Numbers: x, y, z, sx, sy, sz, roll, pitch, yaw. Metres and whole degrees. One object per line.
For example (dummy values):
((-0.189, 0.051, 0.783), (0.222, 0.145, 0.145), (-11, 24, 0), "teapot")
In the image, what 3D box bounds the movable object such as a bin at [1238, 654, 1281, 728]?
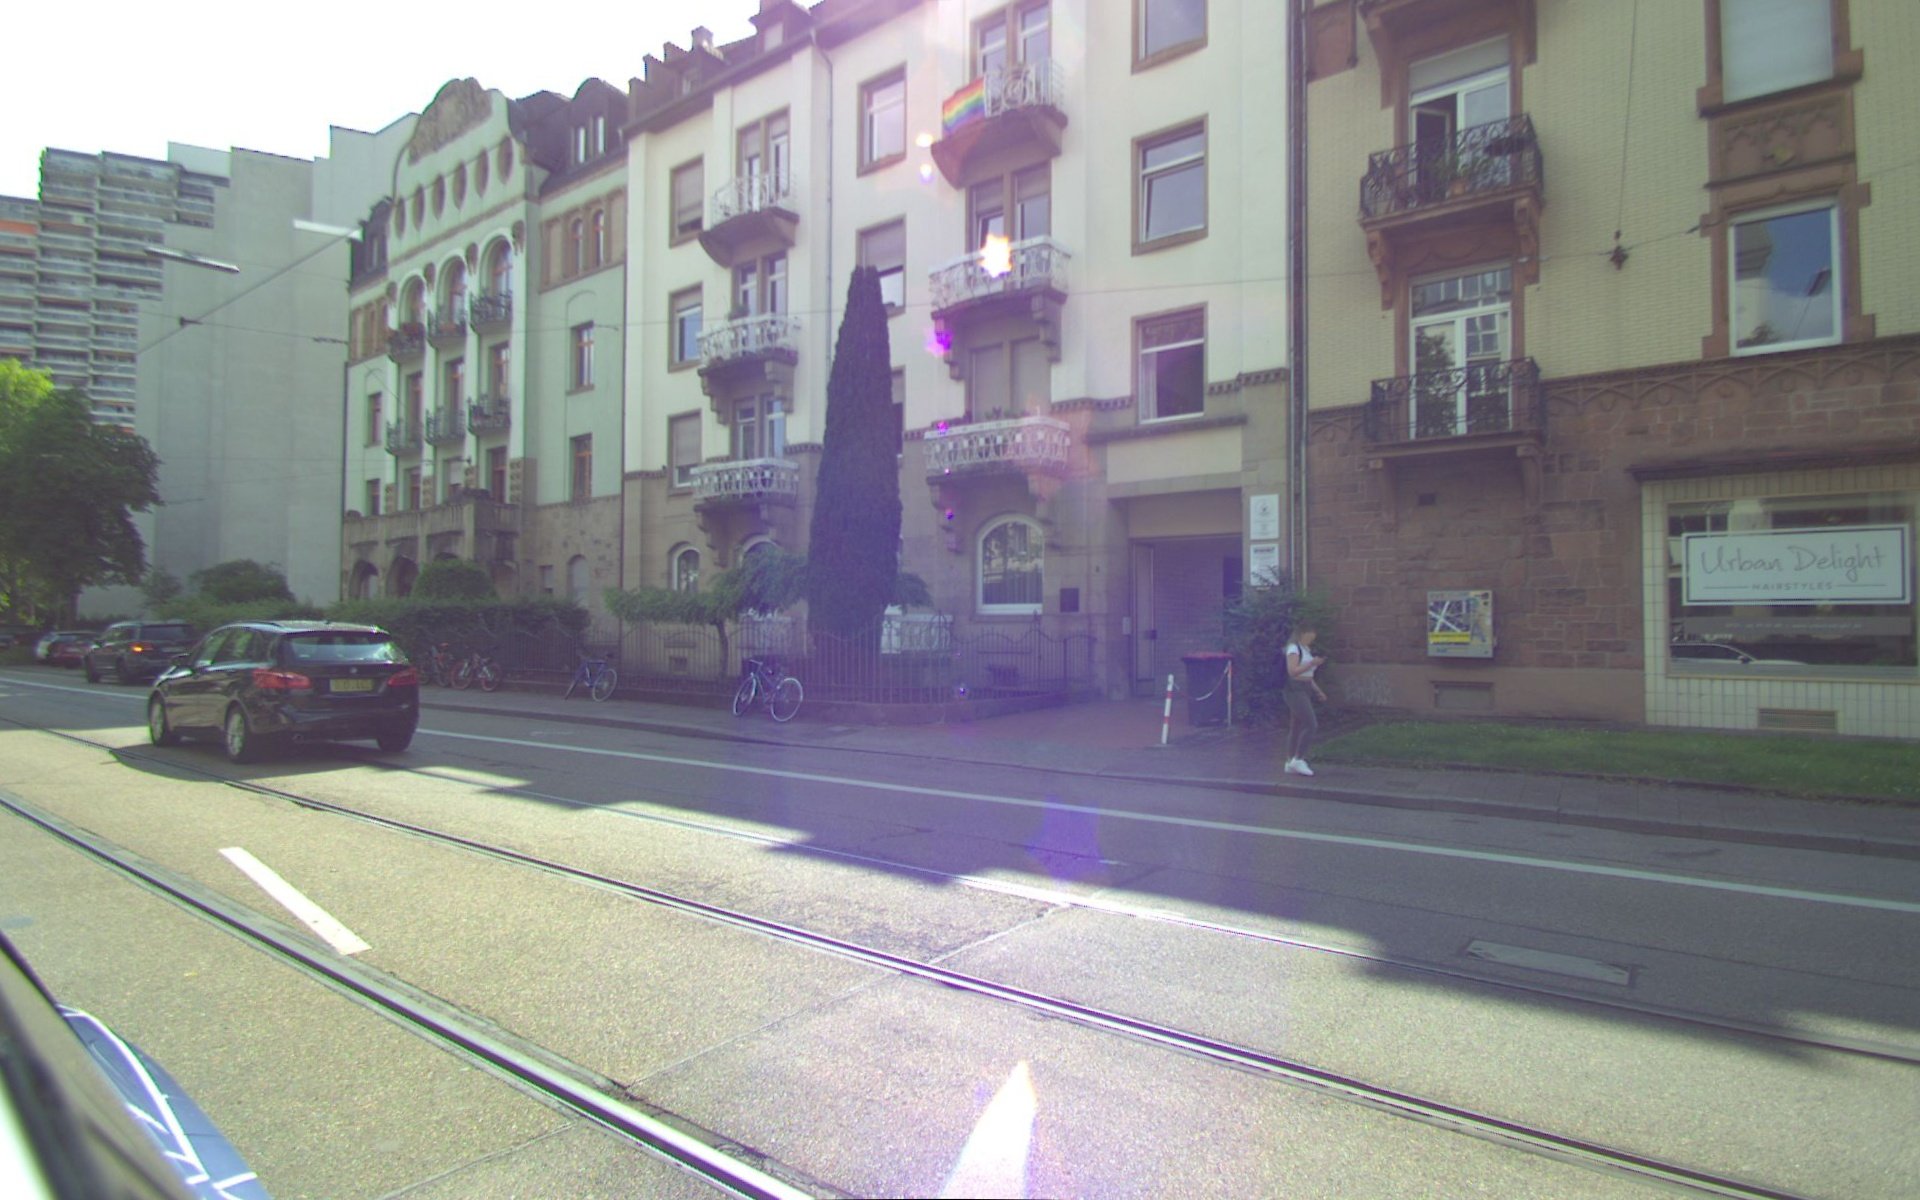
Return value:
((4.304, 1.297, 14.579), (0.531, 1.037, 0.475), (0, -2, 11), "movable object such as a bin")

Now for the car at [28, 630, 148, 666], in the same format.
((-38.671, 2.125, 44.929), (3.938, 1.519, 2.002), (2, -3, -42), "car")

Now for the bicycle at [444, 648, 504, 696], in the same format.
((-10.724, 1.564, 22.308), (1.785, 1.003, 0.462), (-2, -3, 40), "bicycle")

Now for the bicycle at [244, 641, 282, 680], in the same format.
((-20.981, 1.808, 30.439), (1.785, 1.144, 0.462), (-2, -3, 40), "bicycle")

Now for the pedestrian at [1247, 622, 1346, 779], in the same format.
((3.526, 1.019, 10.610), (0.764, 1.553, 0.749), (-2, -3, 39), "pedestrian")

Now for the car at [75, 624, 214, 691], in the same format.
((-22.716, 1.548, 28.161), (4.392, 1.708, 1.899), (-1, -2, 36), "car")

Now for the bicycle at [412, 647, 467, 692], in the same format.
((-12.140, 1.599, 23.571), (1.785, 1.003, 0.462), (-2, -3, 40), "bicycle")

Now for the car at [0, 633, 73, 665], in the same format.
((-46.441, 2.399, 49.967), (3.938, 1.519, 2.002), (2, -3, -42), "car")

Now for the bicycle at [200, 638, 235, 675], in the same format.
((-24.162, 1.823, 32.929), (1.785, 1.144, 0.462), (-2, -3, 40), "bicycle")

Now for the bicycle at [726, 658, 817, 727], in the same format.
((-3.062, 1.456, 16.313), (0.461, 1.003, 1.980), (2, -3, -43), "bicycle")

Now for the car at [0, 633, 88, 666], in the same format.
((-43.984, 2.322, 47.991), (3.938, 1.519, 2.002), (2, -3, -42), "car")

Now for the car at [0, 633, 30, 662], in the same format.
((-51.816, 2.518, 53.396), (3.938, 1.519, 2.002), (2, -3, -42), "car")

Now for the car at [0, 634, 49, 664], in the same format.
((-49.124, 2.489, 51.616), (3.938, 1.519, 2.002), (2, -3, -42), "car")

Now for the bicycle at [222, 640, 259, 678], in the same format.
((-22.507, 1.826, 31.640), (1.785, 1.144, 0.462), (-2, -3, 40), "bicycle")

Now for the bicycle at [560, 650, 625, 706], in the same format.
((-7.136, 1.489, 19.613), (0.461, 1.003, 1.788), (2, -3, -45), "bicycle")

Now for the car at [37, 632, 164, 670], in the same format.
((-36.063, 2.130, 42.517), (3.938, 1.519, 2.002), (2, -3, -42), "car")

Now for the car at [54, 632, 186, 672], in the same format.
((-33.379, 2.047, 40.263), (3.938, 1.519, 2.002), (2, -3, -42), "car")

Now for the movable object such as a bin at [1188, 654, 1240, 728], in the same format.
((3.650, 1.300, 14.579), (0.697, 1.037, 0.475), (0, -2, 11), "movable object such as a bin")

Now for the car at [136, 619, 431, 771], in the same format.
((-8.229, 1.024, 12.200), (4.062, 1.530, 1.739), (-1, -3, 38), "car")

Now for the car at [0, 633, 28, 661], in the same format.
((-54.007, 2.594, 55.698), (3.938, 1.519, 2.002), (2, -3, -42), "car")

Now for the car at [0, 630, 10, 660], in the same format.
((-56.908, 2.573, 57.644), (3.938, 1.695, 2.002), (2, -3, -42), "car")
